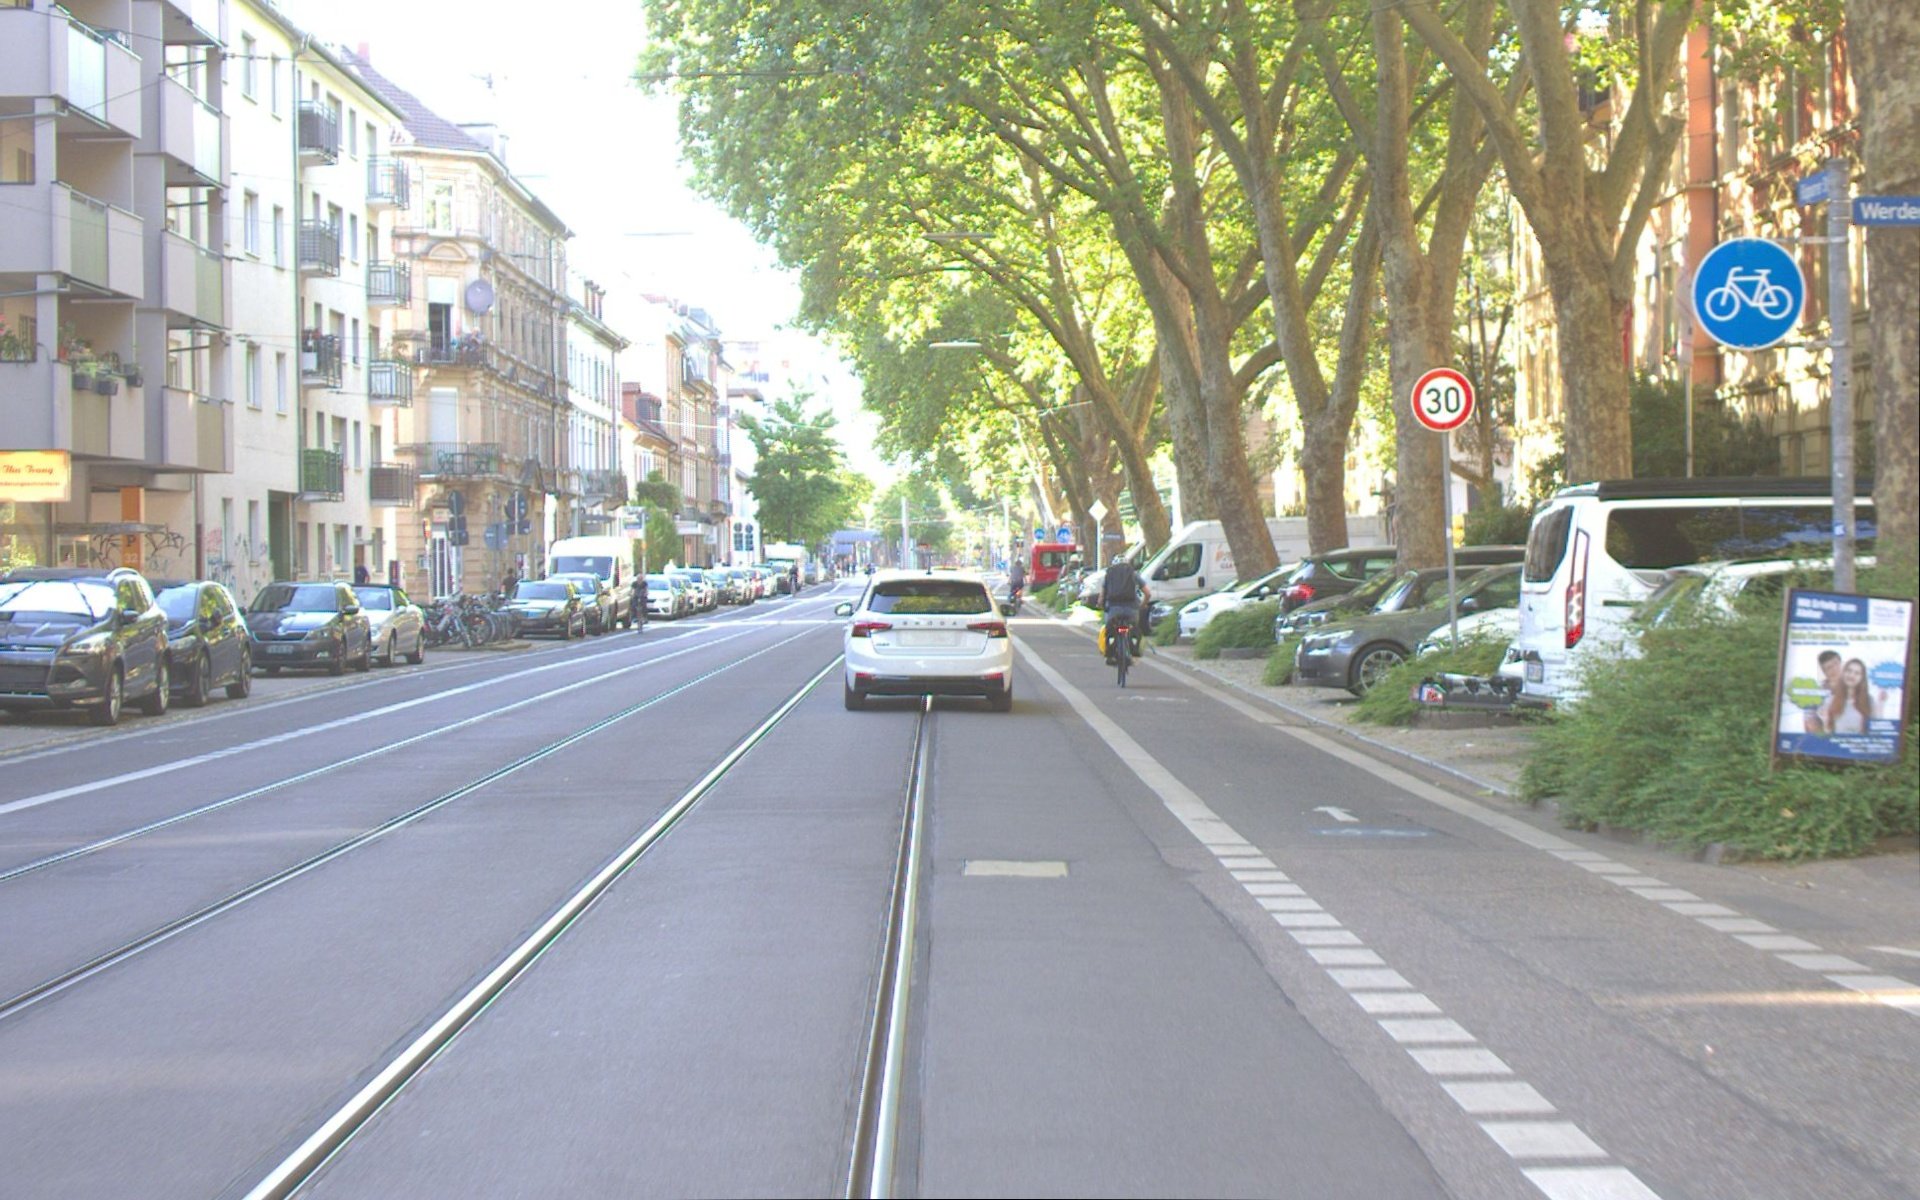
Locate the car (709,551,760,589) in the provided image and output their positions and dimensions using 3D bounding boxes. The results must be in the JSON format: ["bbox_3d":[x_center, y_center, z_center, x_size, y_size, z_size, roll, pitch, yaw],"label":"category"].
[{"bbox_3d":[-9.901,-1.308,151.252,1.993,1.634,4.000,0,0,0],"label":"car"}]

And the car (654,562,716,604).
[{"bbox_3d":[-10.331,-0.653,129.219,1.993,1.525,4.000,-1,1,0],"label":"car"}]

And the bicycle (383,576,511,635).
[{"bbox_3d":[-10.611,0.121,71.174,2.525,1.168,0.883,2,-1,-40],"label":"bicycle"}]

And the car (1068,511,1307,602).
[{"bbox_3d":[6.038,-1.164,91.905,6.130,2.274,2.529,-1,1,-2],"label":"car"}]

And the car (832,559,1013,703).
[{"bbox_3d":[-0.375,0.280,36.055,1.761,1.379,4.000,-1,1,0],"label":"car"}]

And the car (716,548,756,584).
[{"bbox_3d":[-12.774,-1.940,196.366,1.993,2.007,4.000,-1,1,0],"label":"car"}]

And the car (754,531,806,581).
[{"bbox_3d":[-11.383,-2.765,217.811,2.968,3.145,5.847,0,0,0],"label":"car"}]

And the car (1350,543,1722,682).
[{"bbox_3d":[6.651,0.127,39.952,3.987,1.509,1.761,-1,1,-1],"label":"car"}]

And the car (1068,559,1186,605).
[{"bbox_3d":[5.885,-0.648,121.385,4.049,1.535,2.000,-1,1,0],"label":"car"}]

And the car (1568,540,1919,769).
[{"bbox_3d":[6.527,0.330,23.722,4.297,1.474,1.831,-1,1,-1],"label":"car"}]

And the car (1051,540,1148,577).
[{"bbox_3d":[5.962,-1.781,147.438,4.049,1.535,2.000,-1,1,0],"label":"car"}]

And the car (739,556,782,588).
[{"bbox_3d":[-10.247,-1.440,177.082,1.993,1.634,4.000,0,0,0],"label":"car"}]

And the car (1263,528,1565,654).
[{"bbox_3d":[6.357,-0.133,48.425,3.987,1.674,1.723,-1,1,-1],"label":"car"}]

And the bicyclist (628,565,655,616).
[{"bbox_3d":[-8.139,-0.245,87.874,0.597,1.282,0.917,-1,1,-3],"label":"bicyclist"}]

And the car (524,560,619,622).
[{"bbox_3d":[-10.035,-0.249,88.984,1.993,1.525,4.000,-1,1,0],"label":"car"}]

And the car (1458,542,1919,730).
[{"bbox_3d":[6.318,0.280,29.014,3.897,1.474,1.724,-1,1,-3],"label":"car"}]

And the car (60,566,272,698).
[{"bbox_3d":[-10.033,0.365,43.720,1.702,1.539,4.242,2,1,0],"label":"car"}]

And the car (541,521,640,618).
[{"bbox_3d":[-10.177,-0.855,94.922,2.178,2.588,4.949,-1,1,0],"label":"car"}]

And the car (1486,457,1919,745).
[{"bbox_3d":[6.493,-0.024,26.296,4.543,2.069,2.001,-1,1,-2],"label":"car"}]

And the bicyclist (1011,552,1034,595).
[{"bbox_3d":[1.970,-0.855,109.227,0.649,1.339,0.934,-1,1,-2],"label":"bicyclist"}]

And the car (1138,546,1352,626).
[{"bbox_3d":[5.808,-0.293,70.460,4.048,1.535,2.000,-1,1,-6],"label":"car"}]

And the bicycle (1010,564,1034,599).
[{"bbox_3d":[1.981,-0.589,109.218,0.649,1.067,1.583,-1,1,-2],"label":"bicycle"}]

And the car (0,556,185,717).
[{"bbox_3d":[-9.936,0.363,38.398,1.702,1.645,4.242,2,1,-2],"label":"car"}]

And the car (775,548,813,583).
[{"bbox_3d":[-9.582,-2.007,198.832,1.993,2.007,4.000,-1,1,0],"label":"car"}]

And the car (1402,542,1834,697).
[{"bbox_3d":[6.689,0.178,35.259,4.036,1.474,1.923,-1,1,0],"label":"car"}]

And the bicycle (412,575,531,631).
[{"bbox_3d":[-10.607,0.074,74.716,2.524,1.168,0.719,1,-1,-5],"label":"bicycle"}]

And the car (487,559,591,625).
[{"bbox_3d":[-10.159,-0.214,83.203,1.993,1.525,4.000,-1,1,0],"label":"car"}]

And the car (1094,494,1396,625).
[{"bbox_3d":[6.023,-0.868,73.286,6.130,2.626,2.529,-1,1,-2],"label":"car"}]

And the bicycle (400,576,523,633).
[{"bbox_3d":[-10.569,0.102,72.896,2.524,1.168,0.719,1,-1,-5],"label":"bicycle"}]

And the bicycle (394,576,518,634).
[{"bbox_3d":[-10.553,0.113,72.056,2.524,1.168,0.719,1,-1,-6],"label":"bicycle"}]

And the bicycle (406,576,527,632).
[{"bbox_3d":[-10.604,0.087,73.931,2.524,1.168,0.719,1,-1,-5],"label":"bicycle"}]

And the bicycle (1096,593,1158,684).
[{"bbox_3d":[2.078,0.470,42.957,0.681,1.067,1.781,-1,1,0],"label":"bicycle"}]

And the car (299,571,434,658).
[{"bbox_3d":[-10.147,0.224,59.018,1.485,1.398,3.990,-1,1,2],"label":"car"}]

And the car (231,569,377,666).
[{"bbox_3d":[-10.258,0.248,53.979,1.653,1.432,3.837,-1,1,-2],"label":"car"}]

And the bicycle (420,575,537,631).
[{"bbox_3d":[-10.613,0.069,75.835,2.524,1.168,0.719,1,-1,-6],"label":"bicycle"}]

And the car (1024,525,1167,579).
[{"bbox_3d":[5.983,-2.111,152.128,6.130,2.274,2.529,-1,1,-2],"label":"car"}]

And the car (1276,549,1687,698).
[{"bbox_3d":[5.637,0.238,37.514,4.142,1.509,1.931,-1,1,-1],"label":"car"}]

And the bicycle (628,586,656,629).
[{"bbox_3d":[-8.123,0.183,87.847,0.605,1.067,1.583,-1,1,-3],"label":"bicycle"}]

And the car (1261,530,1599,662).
[{"bbox_3d":[6.261,-0.068,46.120,4.234,1.661,1.848,-1,1,-1],"label":"car"}]

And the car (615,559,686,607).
[{"bbox_3d":[-10.359,-0.582,115.256,1.993,1.525,4.000,-1,1,0],"label":"car"}]

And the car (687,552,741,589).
[{"bbox_3d":[-10.334,-1.246,144.563,1.993,1.525,4.000,-1,1,0],"label":"car"}]

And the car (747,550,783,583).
[{"bbox_3d":[-11.960,-2.061,210.663,1.993,2.007,4.000,0,0,0],"label":"car"}]

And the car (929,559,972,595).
[{"bbox_3d":[-0.375,-0.977,145.424,1.761,1.470,4.000,-1,1,0],"label":"car"}]

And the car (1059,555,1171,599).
[{"bbox_3d":[5.746,-0.857,127.933,4.049,1.535,2.000,-1,1,0],"label":"car"}]

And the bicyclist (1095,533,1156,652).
[{"bbox_3d":[2.058,-0.100,42.852,0.678,1.438,1.047,-1,1,0],"label":"bicyclist"}]

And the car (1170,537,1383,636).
[{"bbox_3d":[5.592,-0.250,61.040,3.634,1.661,1.822,-1,1,2],"label":"car"}]
